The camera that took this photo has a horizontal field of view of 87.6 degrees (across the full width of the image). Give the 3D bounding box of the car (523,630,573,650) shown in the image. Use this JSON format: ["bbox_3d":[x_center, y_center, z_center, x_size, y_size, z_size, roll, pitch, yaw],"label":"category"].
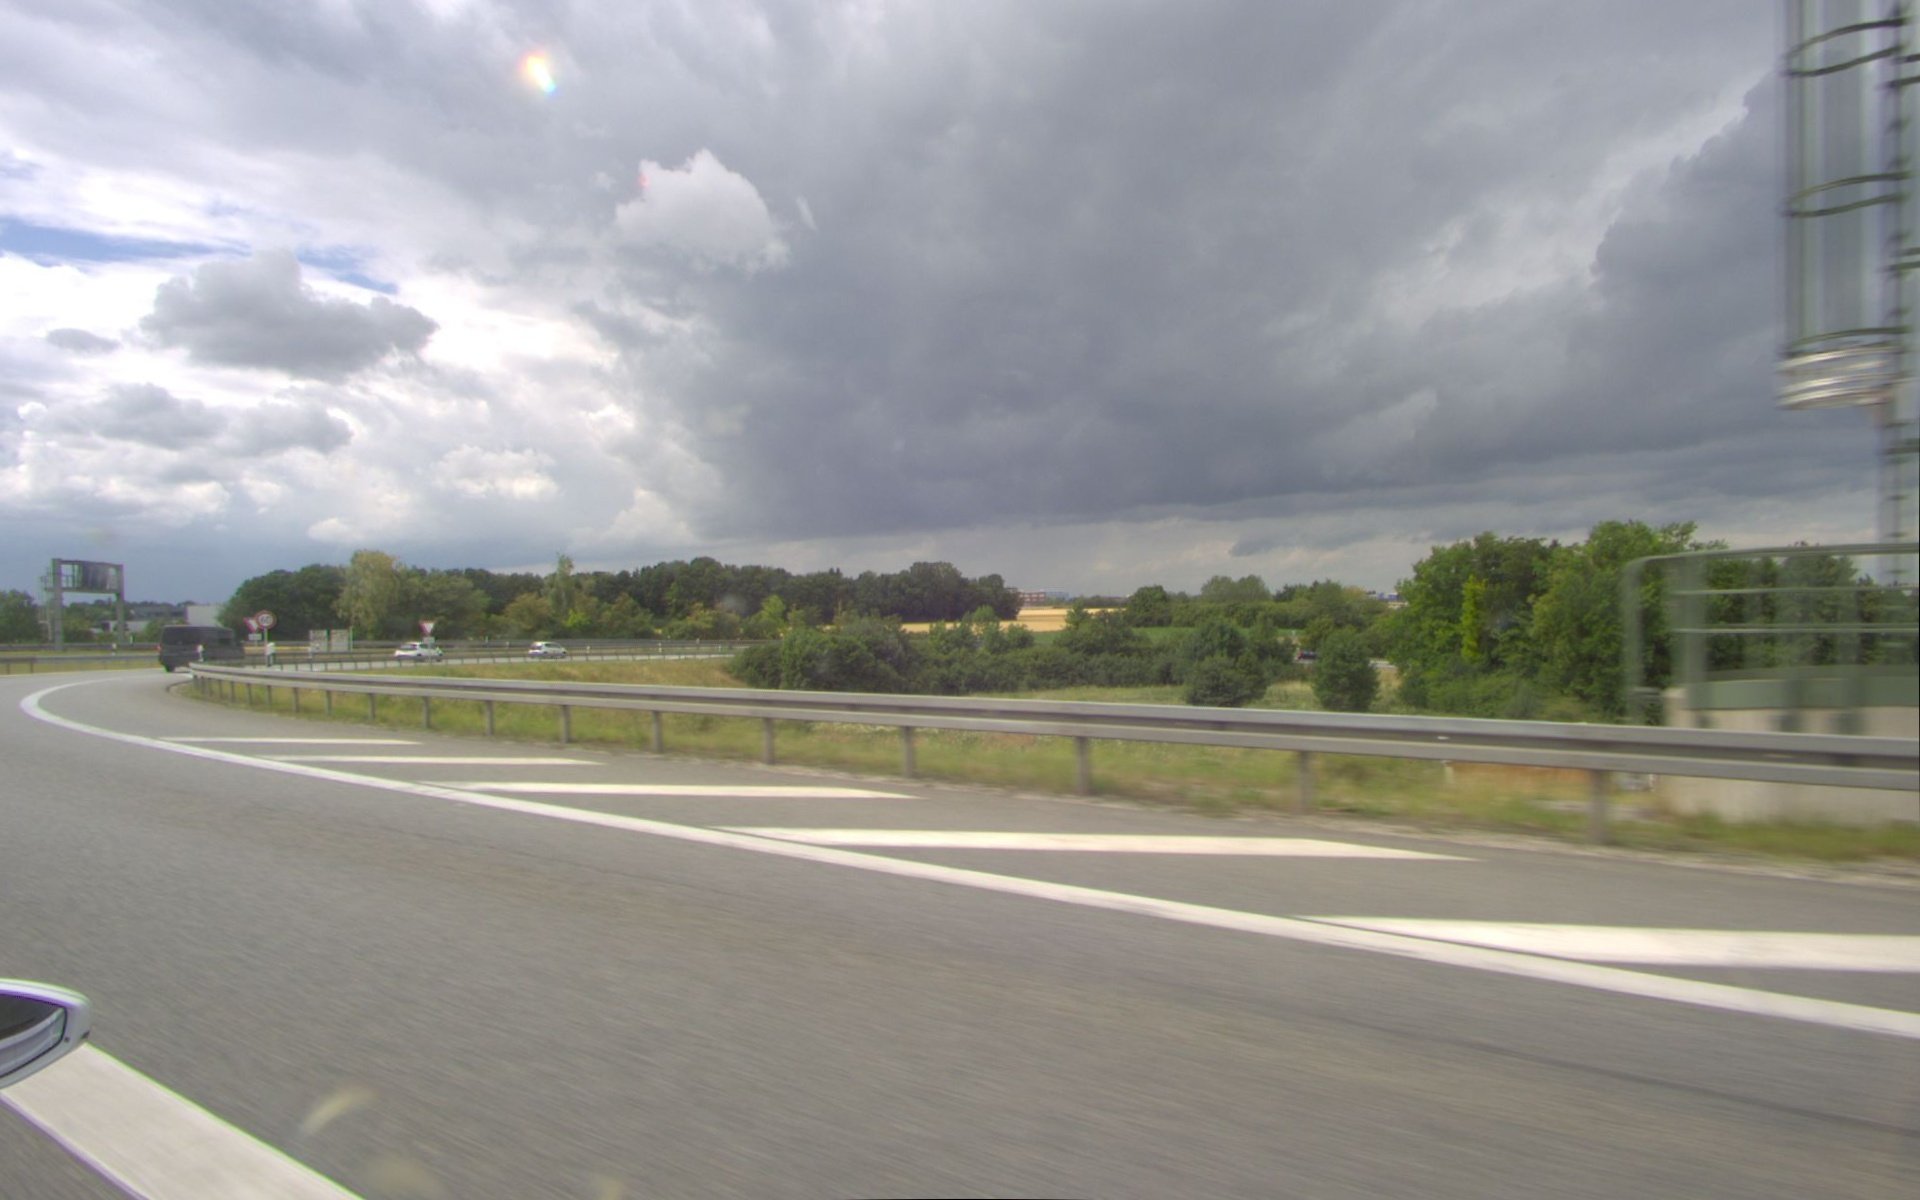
[{"bbox_3d":[-38.130,3.708,92.728,1.967,1.731,3.989,1,-1,24],"label":"car"}]

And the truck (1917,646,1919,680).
[{"bbox_3d":[116.782,7.457,113.106,3.921,4.112,19.030,0,-1,15],"label":"truck"}]

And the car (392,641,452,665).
[{"bbox_3d":[-41.871,4.088,78.024,1.963,1.731,3.997,1,-1,14],"label":"car"}]

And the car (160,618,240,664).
[{"bbox_3d":[-39.129,2.075,51.709,1.880,2.291,4.638,1,-1,-19],"label":"car"}]
